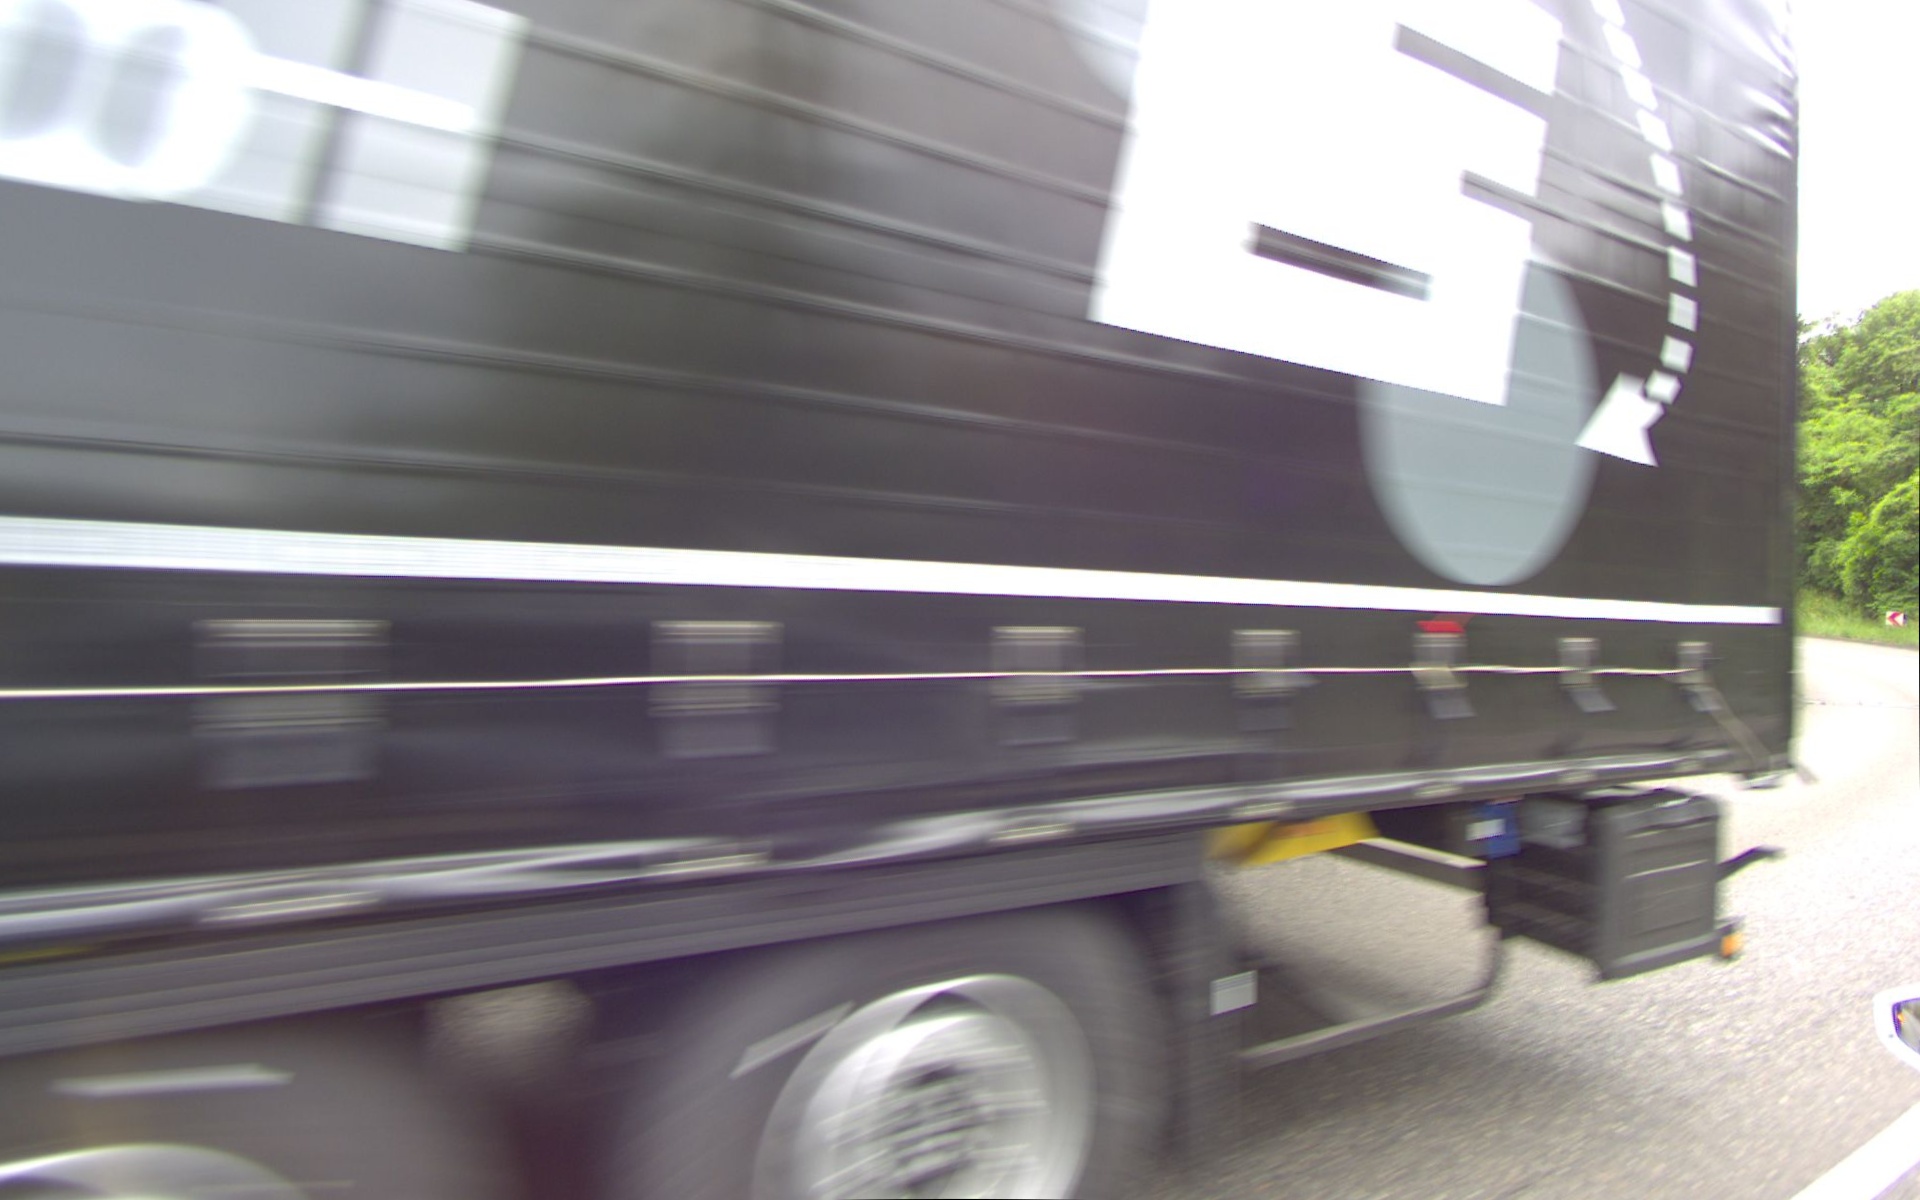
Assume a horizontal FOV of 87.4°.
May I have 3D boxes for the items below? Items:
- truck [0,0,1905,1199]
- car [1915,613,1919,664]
[{"bbox_3d":[-3.317,-0.513,1.224,13.671,4.002,2.692,1,-2,-30],"label":"truck"},{"bbox_3d":[27.821,1.090,27.262,1.812,1.503,3.993,2,-1,30],"label":"car"}]
